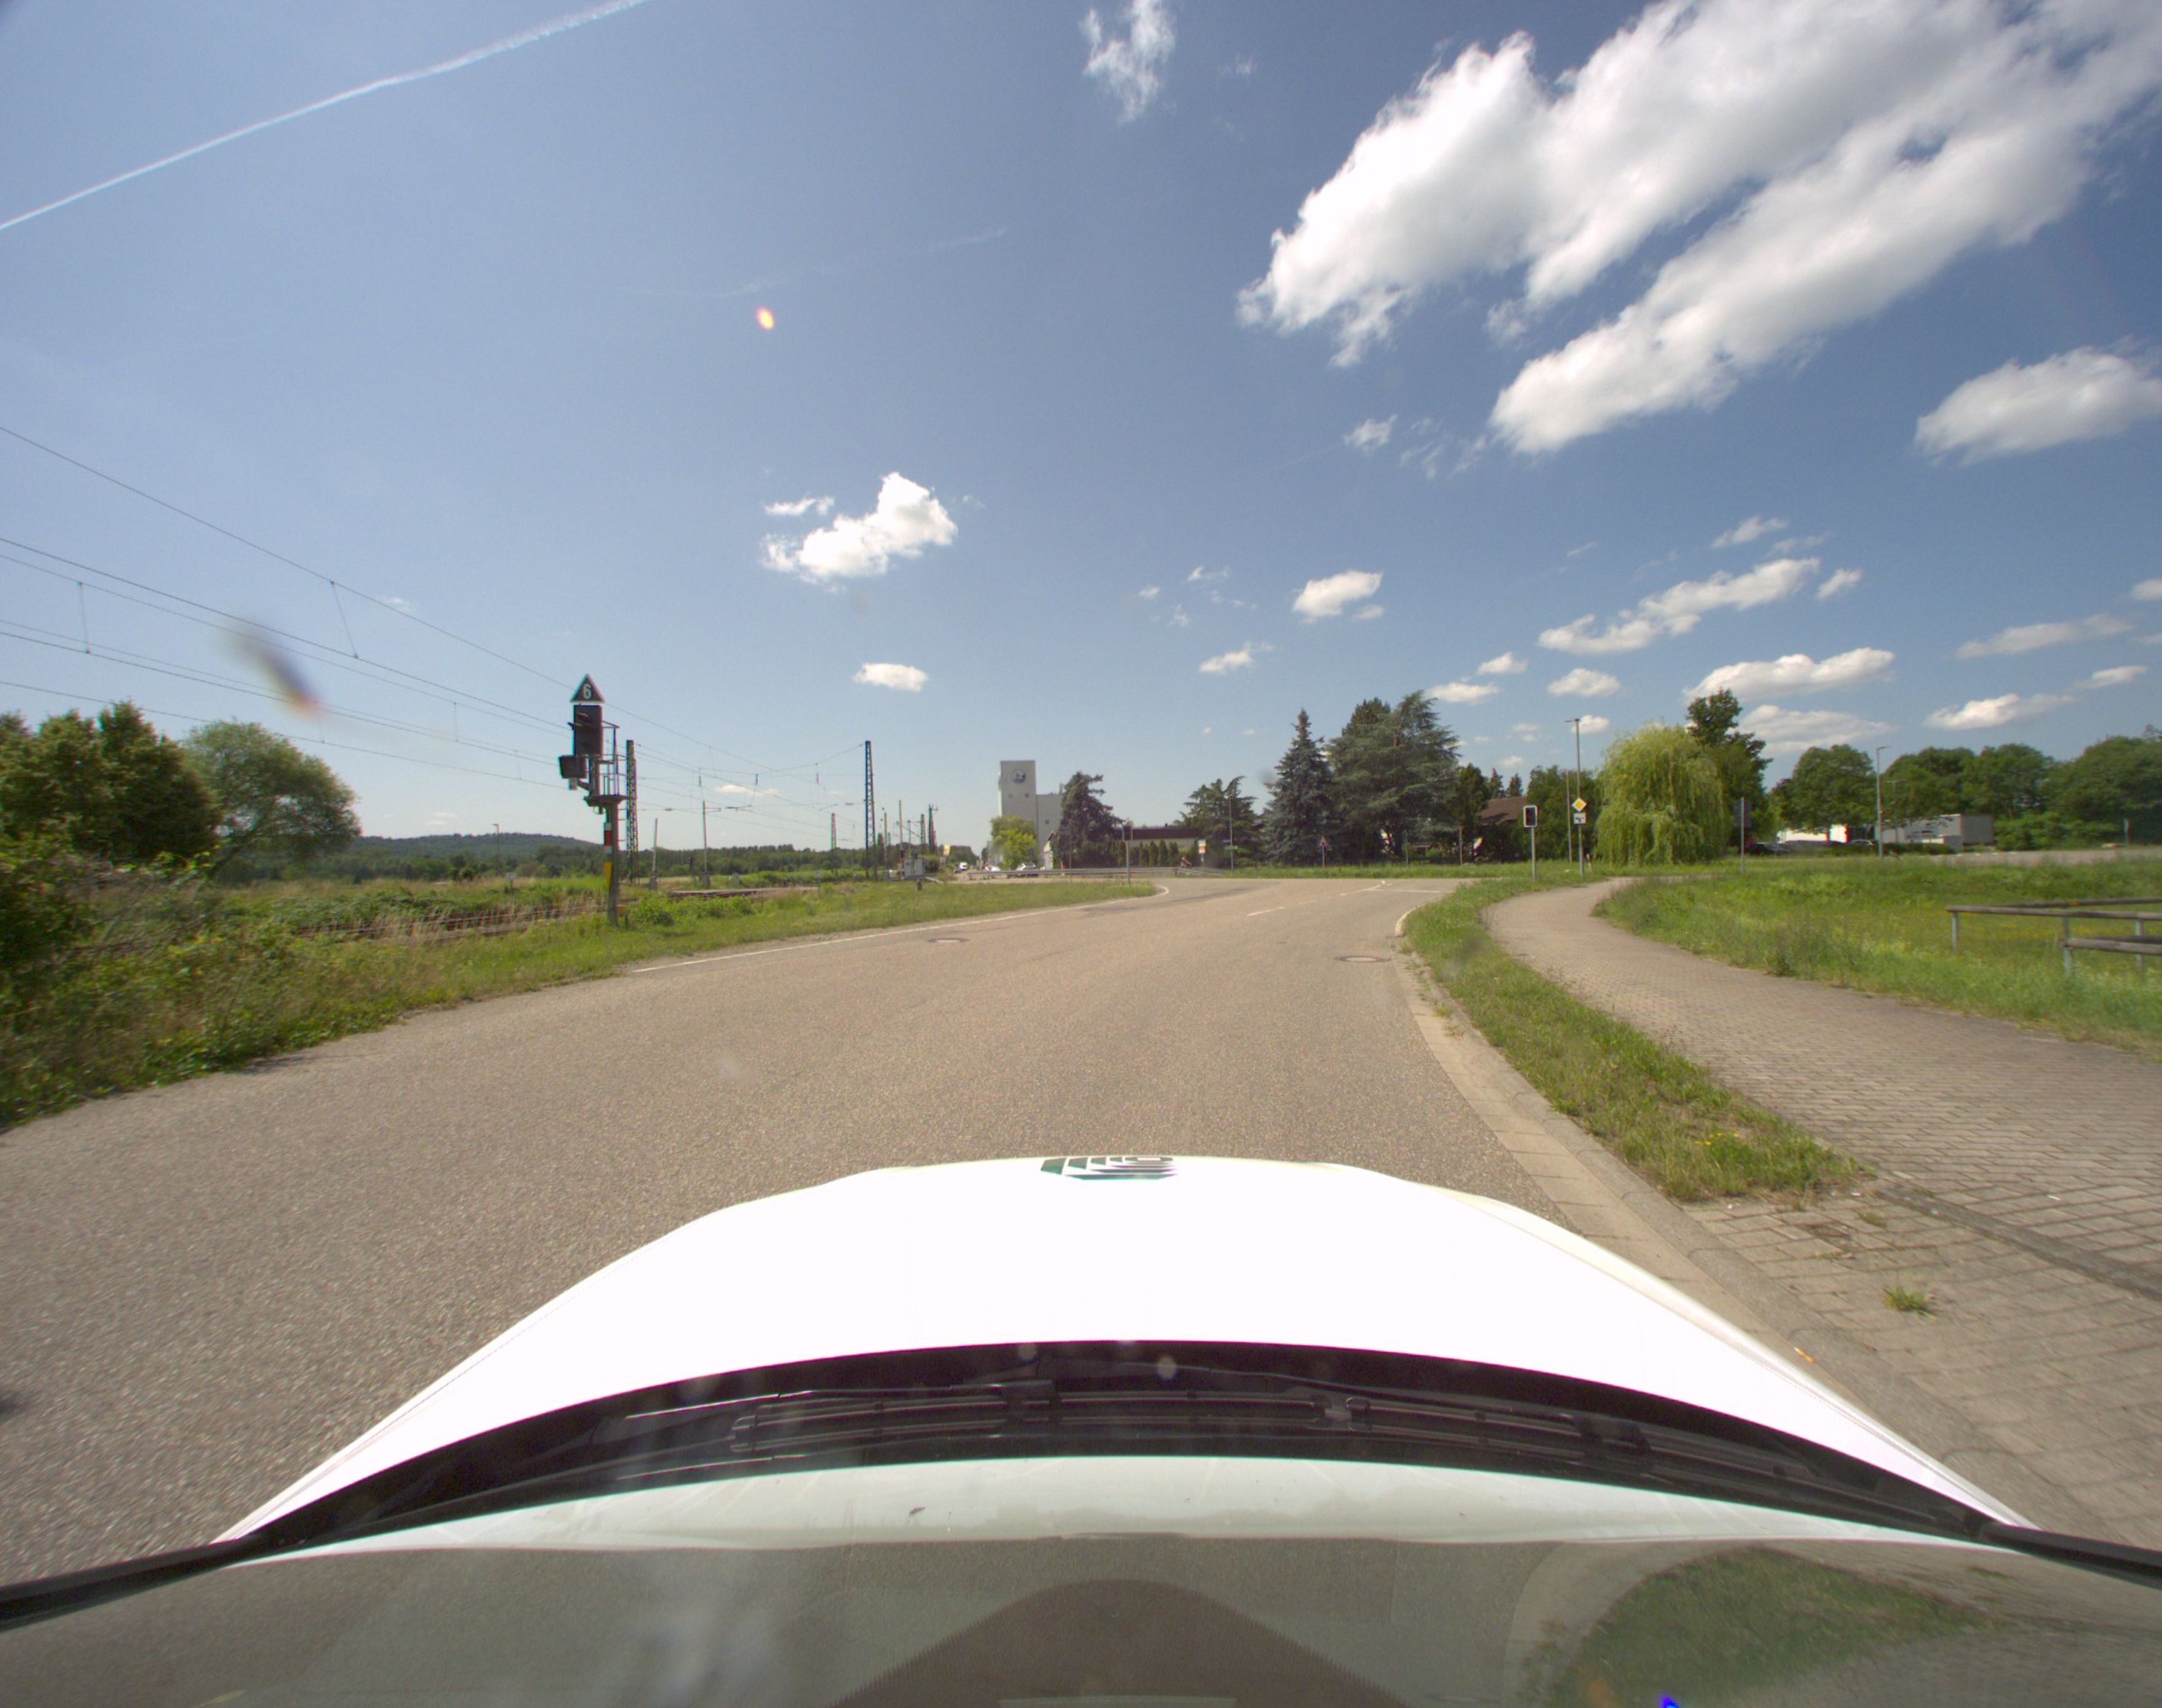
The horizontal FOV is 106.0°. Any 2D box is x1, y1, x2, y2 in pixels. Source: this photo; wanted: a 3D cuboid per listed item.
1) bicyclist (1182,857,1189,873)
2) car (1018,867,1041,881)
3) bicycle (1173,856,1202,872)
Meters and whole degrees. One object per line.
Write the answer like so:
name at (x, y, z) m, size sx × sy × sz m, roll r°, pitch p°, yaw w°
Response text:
bicyclist at (8.177, 0.834, 63.707) m, size 0.506 × 1.255 × 0.471 m, roll -2°, pitch 0°, yaw 16°
car at (-5.869, 2.217, 91.907) m, size 1.995 × 1.510 × 4.436 m, roll -2°, pitch 0°, yaw -12°
bicycle at (8.327, 0.794, 63.739) m, size 2.123 × 1.165 × 0.664 m, roll -1°, pitch 0°, yaw 15°
